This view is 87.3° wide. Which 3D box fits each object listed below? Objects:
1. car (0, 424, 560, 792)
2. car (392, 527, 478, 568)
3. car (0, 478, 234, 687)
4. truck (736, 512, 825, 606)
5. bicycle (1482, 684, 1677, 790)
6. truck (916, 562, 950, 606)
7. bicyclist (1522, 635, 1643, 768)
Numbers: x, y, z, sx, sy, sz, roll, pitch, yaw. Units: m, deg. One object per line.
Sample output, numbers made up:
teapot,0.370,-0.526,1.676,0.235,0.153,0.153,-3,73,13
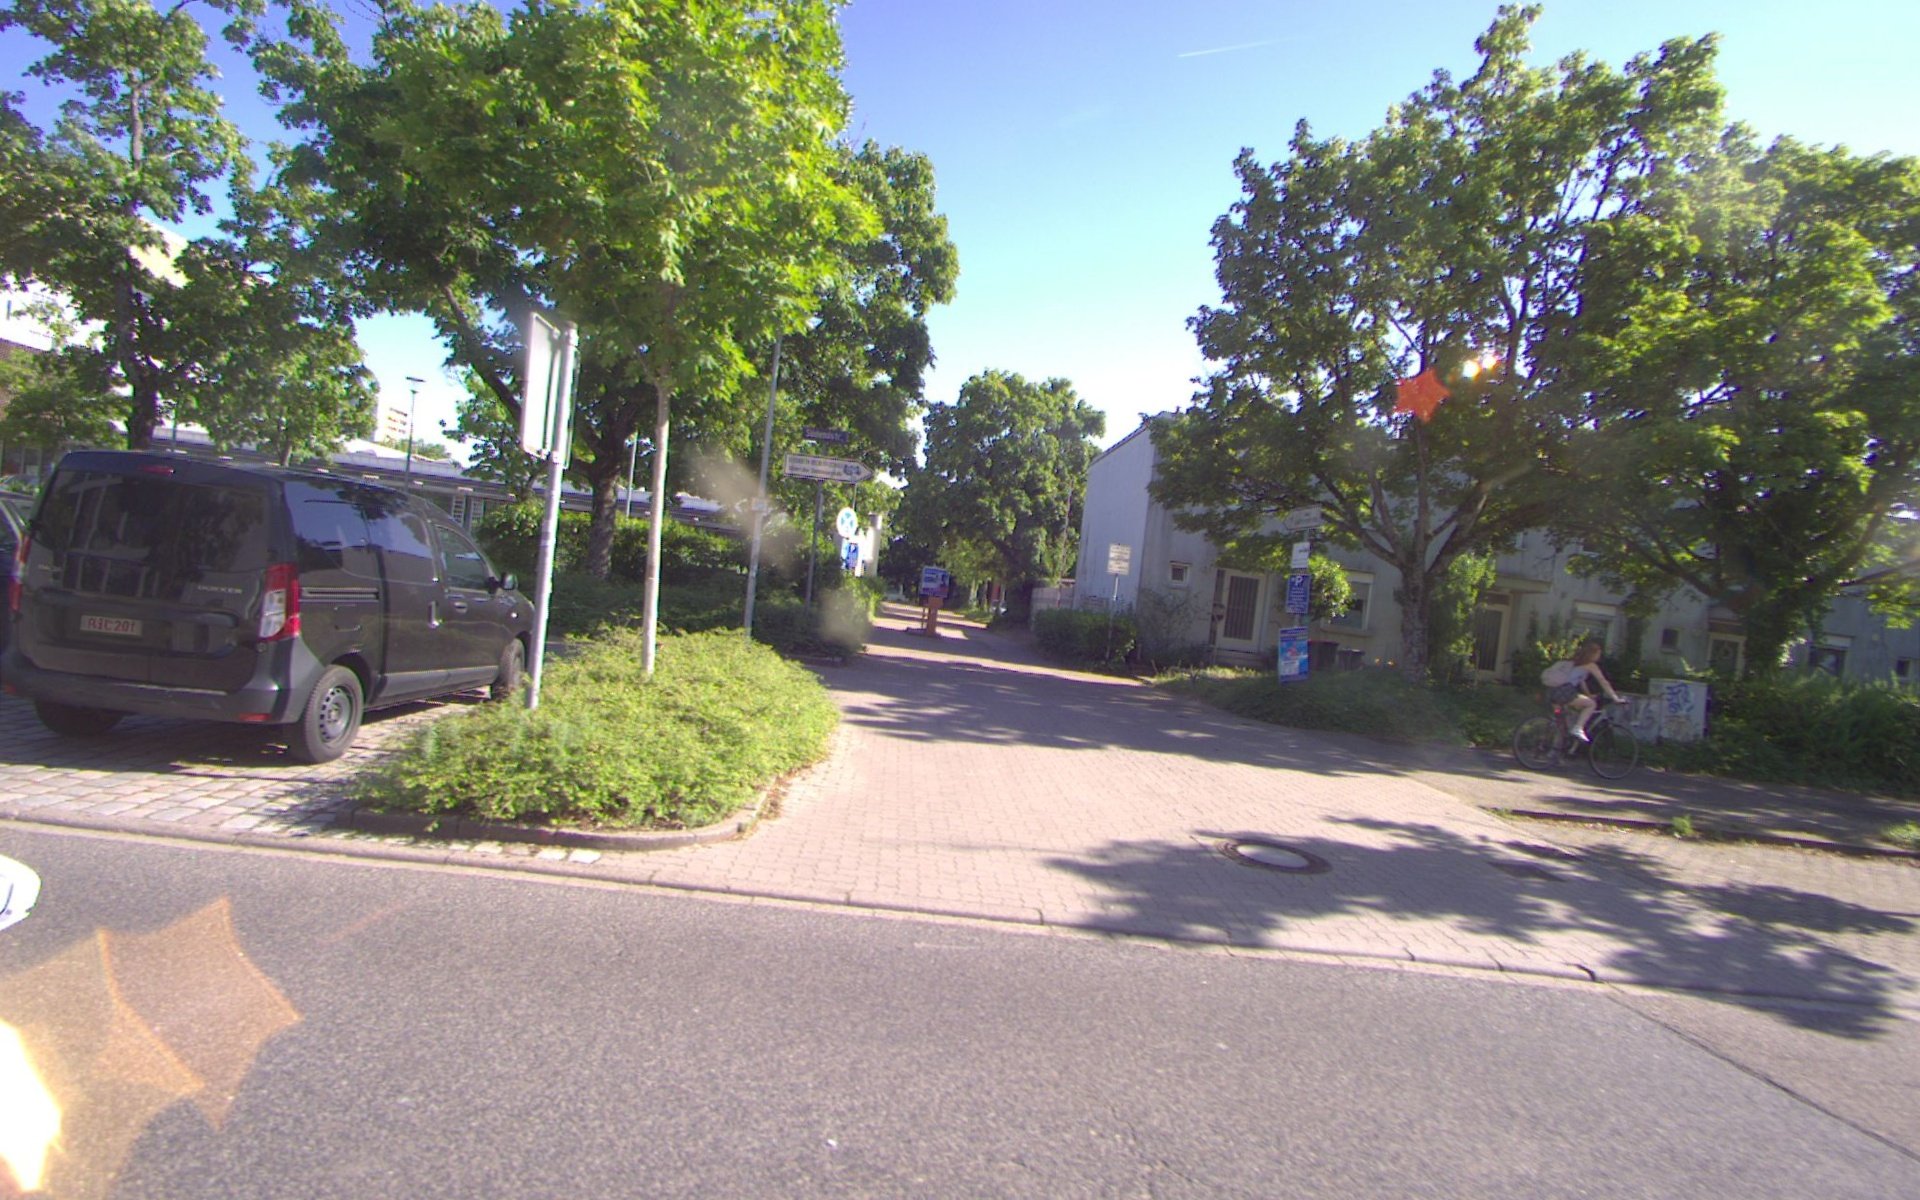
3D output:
car,-4.777,-0.026,7.649,1.846,1.871,4.162,7,2,-3
car,-23.890,-2.375,45.905,1.808,1.517,3.904,7,1,-2
car,-7.645,-0.211,7.376,1.797,1.424,4.161,7,2,-5
truck,-8.511,-1.882,48.485,2.761,3.854,6.919,8,1,-2
bicycle,8.082,1.777,13.173,2.050,1.008,0.596,8,1,1
truck,-2.822,-1.649,102.455,2.719,3.918,9.320,8,1,-3
bicyclist,8.123,1.307,13.154,0.996,1.543,0.596,8,2,2
